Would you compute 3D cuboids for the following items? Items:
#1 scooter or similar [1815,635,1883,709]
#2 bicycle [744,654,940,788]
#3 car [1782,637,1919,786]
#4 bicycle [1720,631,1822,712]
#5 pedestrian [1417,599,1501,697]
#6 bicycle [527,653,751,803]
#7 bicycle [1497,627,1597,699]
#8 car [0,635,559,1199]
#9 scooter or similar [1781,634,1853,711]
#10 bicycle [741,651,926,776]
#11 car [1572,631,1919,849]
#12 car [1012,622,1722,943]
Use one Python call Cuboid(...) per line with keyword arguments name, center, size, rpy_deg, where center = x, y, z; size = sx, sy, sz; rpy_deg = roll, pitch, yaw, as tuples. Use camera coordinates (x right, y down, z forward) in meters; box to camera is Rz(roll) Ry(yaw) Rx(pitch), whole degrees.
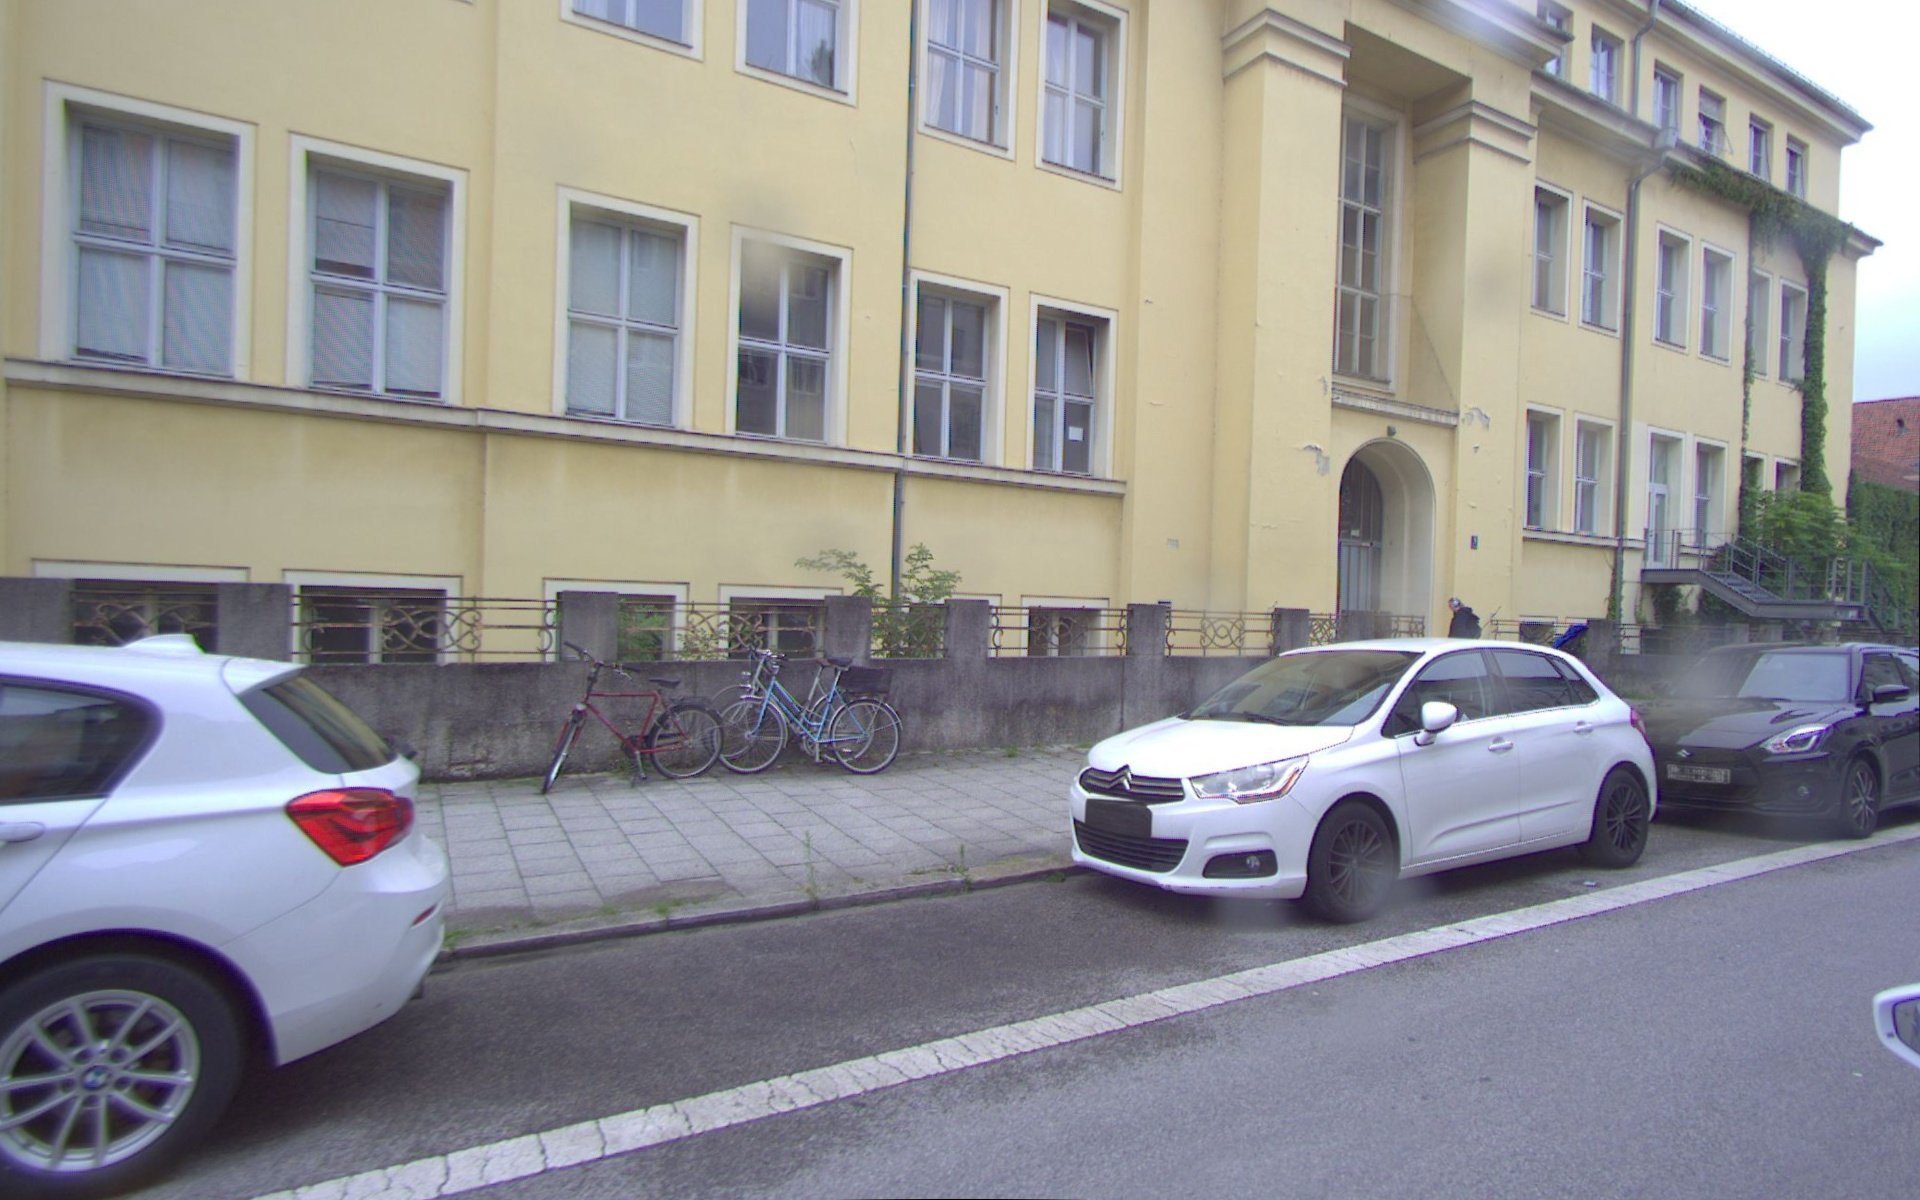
Cuboid(name="scooter or similar", center=(17.530, 1.406, 19.797), size=(1.483, 1.387, 0.557), rpy_deg=(2, -1, -29))
Cuboid(name="bicycle", center=(-1.035, 1.040, 8.833), size=(1.615, 1.077, 0.536), rpy_deg=(2, 0, -20))
Cuboid(name="car", center=(11.582, 1.235, 11.664), size=(4.444, 1.521, 1.696), rpy_deg=(2, -6, -31))
Cuboid(name="bicycle", center=(14.519, 1.265, 17.963), size=(2.088, 1.346, 0.678), rpy_deg=(2, 0, -29))
Cuboid(name="pedestrian", center=(9.127, 0.868, 18.398), size=(1.041, 1.742, 0.902), rpy_deg=(1, -1, -14))
Cuboid(name="bicycle", center=(-2.578, 0.984, 8.164), size=(1.625, 1.077, 0.570), rpy_deg=(2, 0, -38))
Cuboid(name="bicycle", center=(11.189, 1.178, 19.183), size=(0.520, 1.285, 1.620), rpy_deg=(1, -1, -28))
Cuboid(name="car", center=(-3.679, 0.826, 2.682), size=(4.612, 1.448, 1.785), rpy_deg=(2, -4, -32))
Cuboid(name="scooter or similar", center=(16.219, 1.353, 19.002), size=(1.483, 1.387, 0.557), rpy_deg=(2, -1, -29))
Cuboid(name="bicycle", center=(-1.176, 1.039, 9.363), size=(1.615, 1.077, 0.536), rpy_deg=(2, 0, -20))
Cuboid(name="car", center=(7.399, 1.097, 8.798), size=(4.099, 1.516, 1.692), rpy_deg=(2, -4, -30))
Cuboid(name="car", center=(2.754, 0.983, 6.521), size=(4.597, 1.449, 1.778), rpy_deg=(2, -6, -30))
